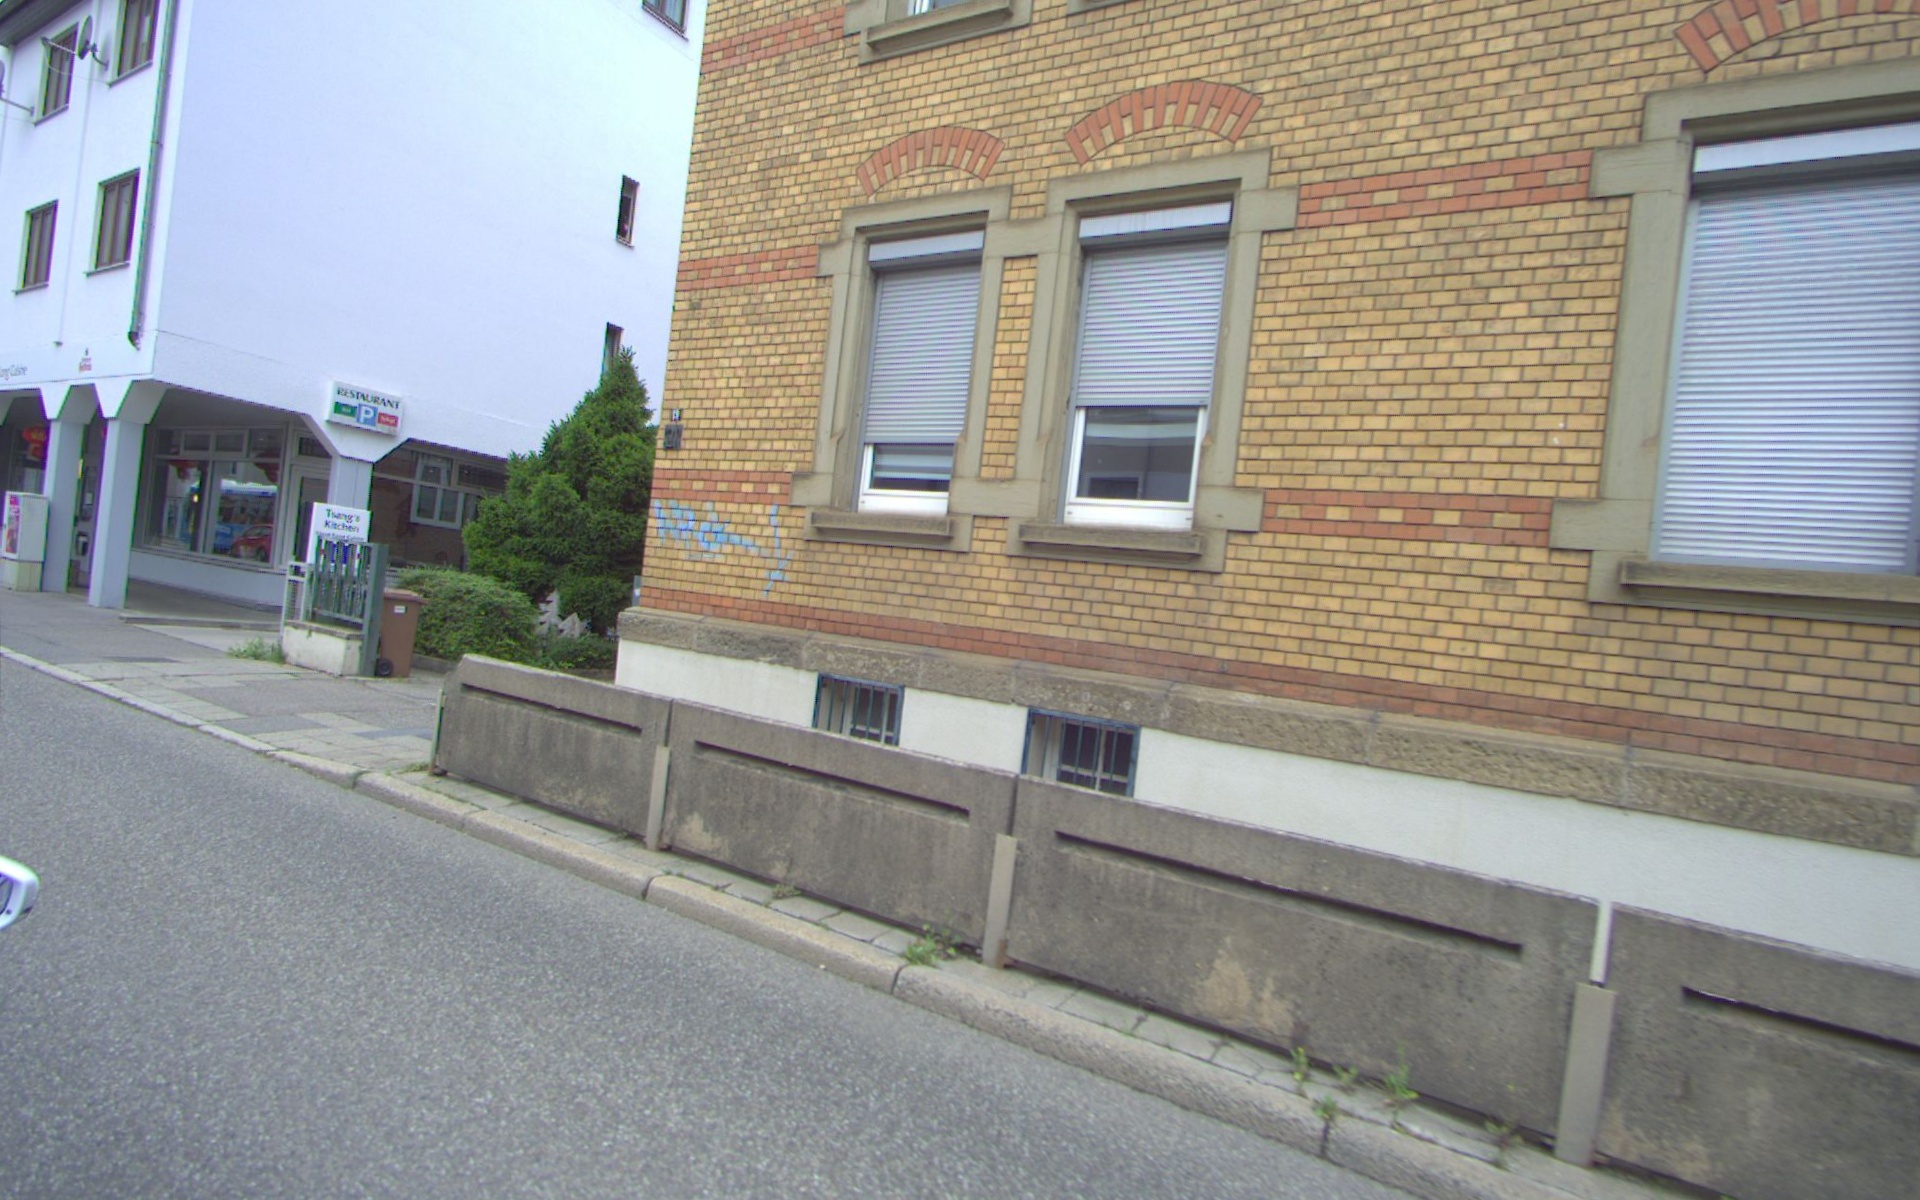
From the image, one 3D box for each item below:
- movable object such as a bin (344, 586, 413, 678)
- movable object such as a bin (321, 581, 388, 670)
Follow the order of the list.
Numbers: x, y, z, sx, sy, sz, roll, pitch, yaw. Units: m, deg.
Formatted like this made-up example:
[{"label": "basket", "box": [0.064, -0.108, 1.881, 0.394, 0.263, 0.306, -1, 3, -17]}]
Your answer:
[{"label": "movable object such as a bin", "box": [-6.254, 0.346, 10.820, 0.449, 0.915, 0.398, 7, 0, 32]}, {"label": "movable object such as a bin", "box": [-6.730, 0.286, 11.182, 0.449, 0.915, 0.398, 7, 0, 32]}]
